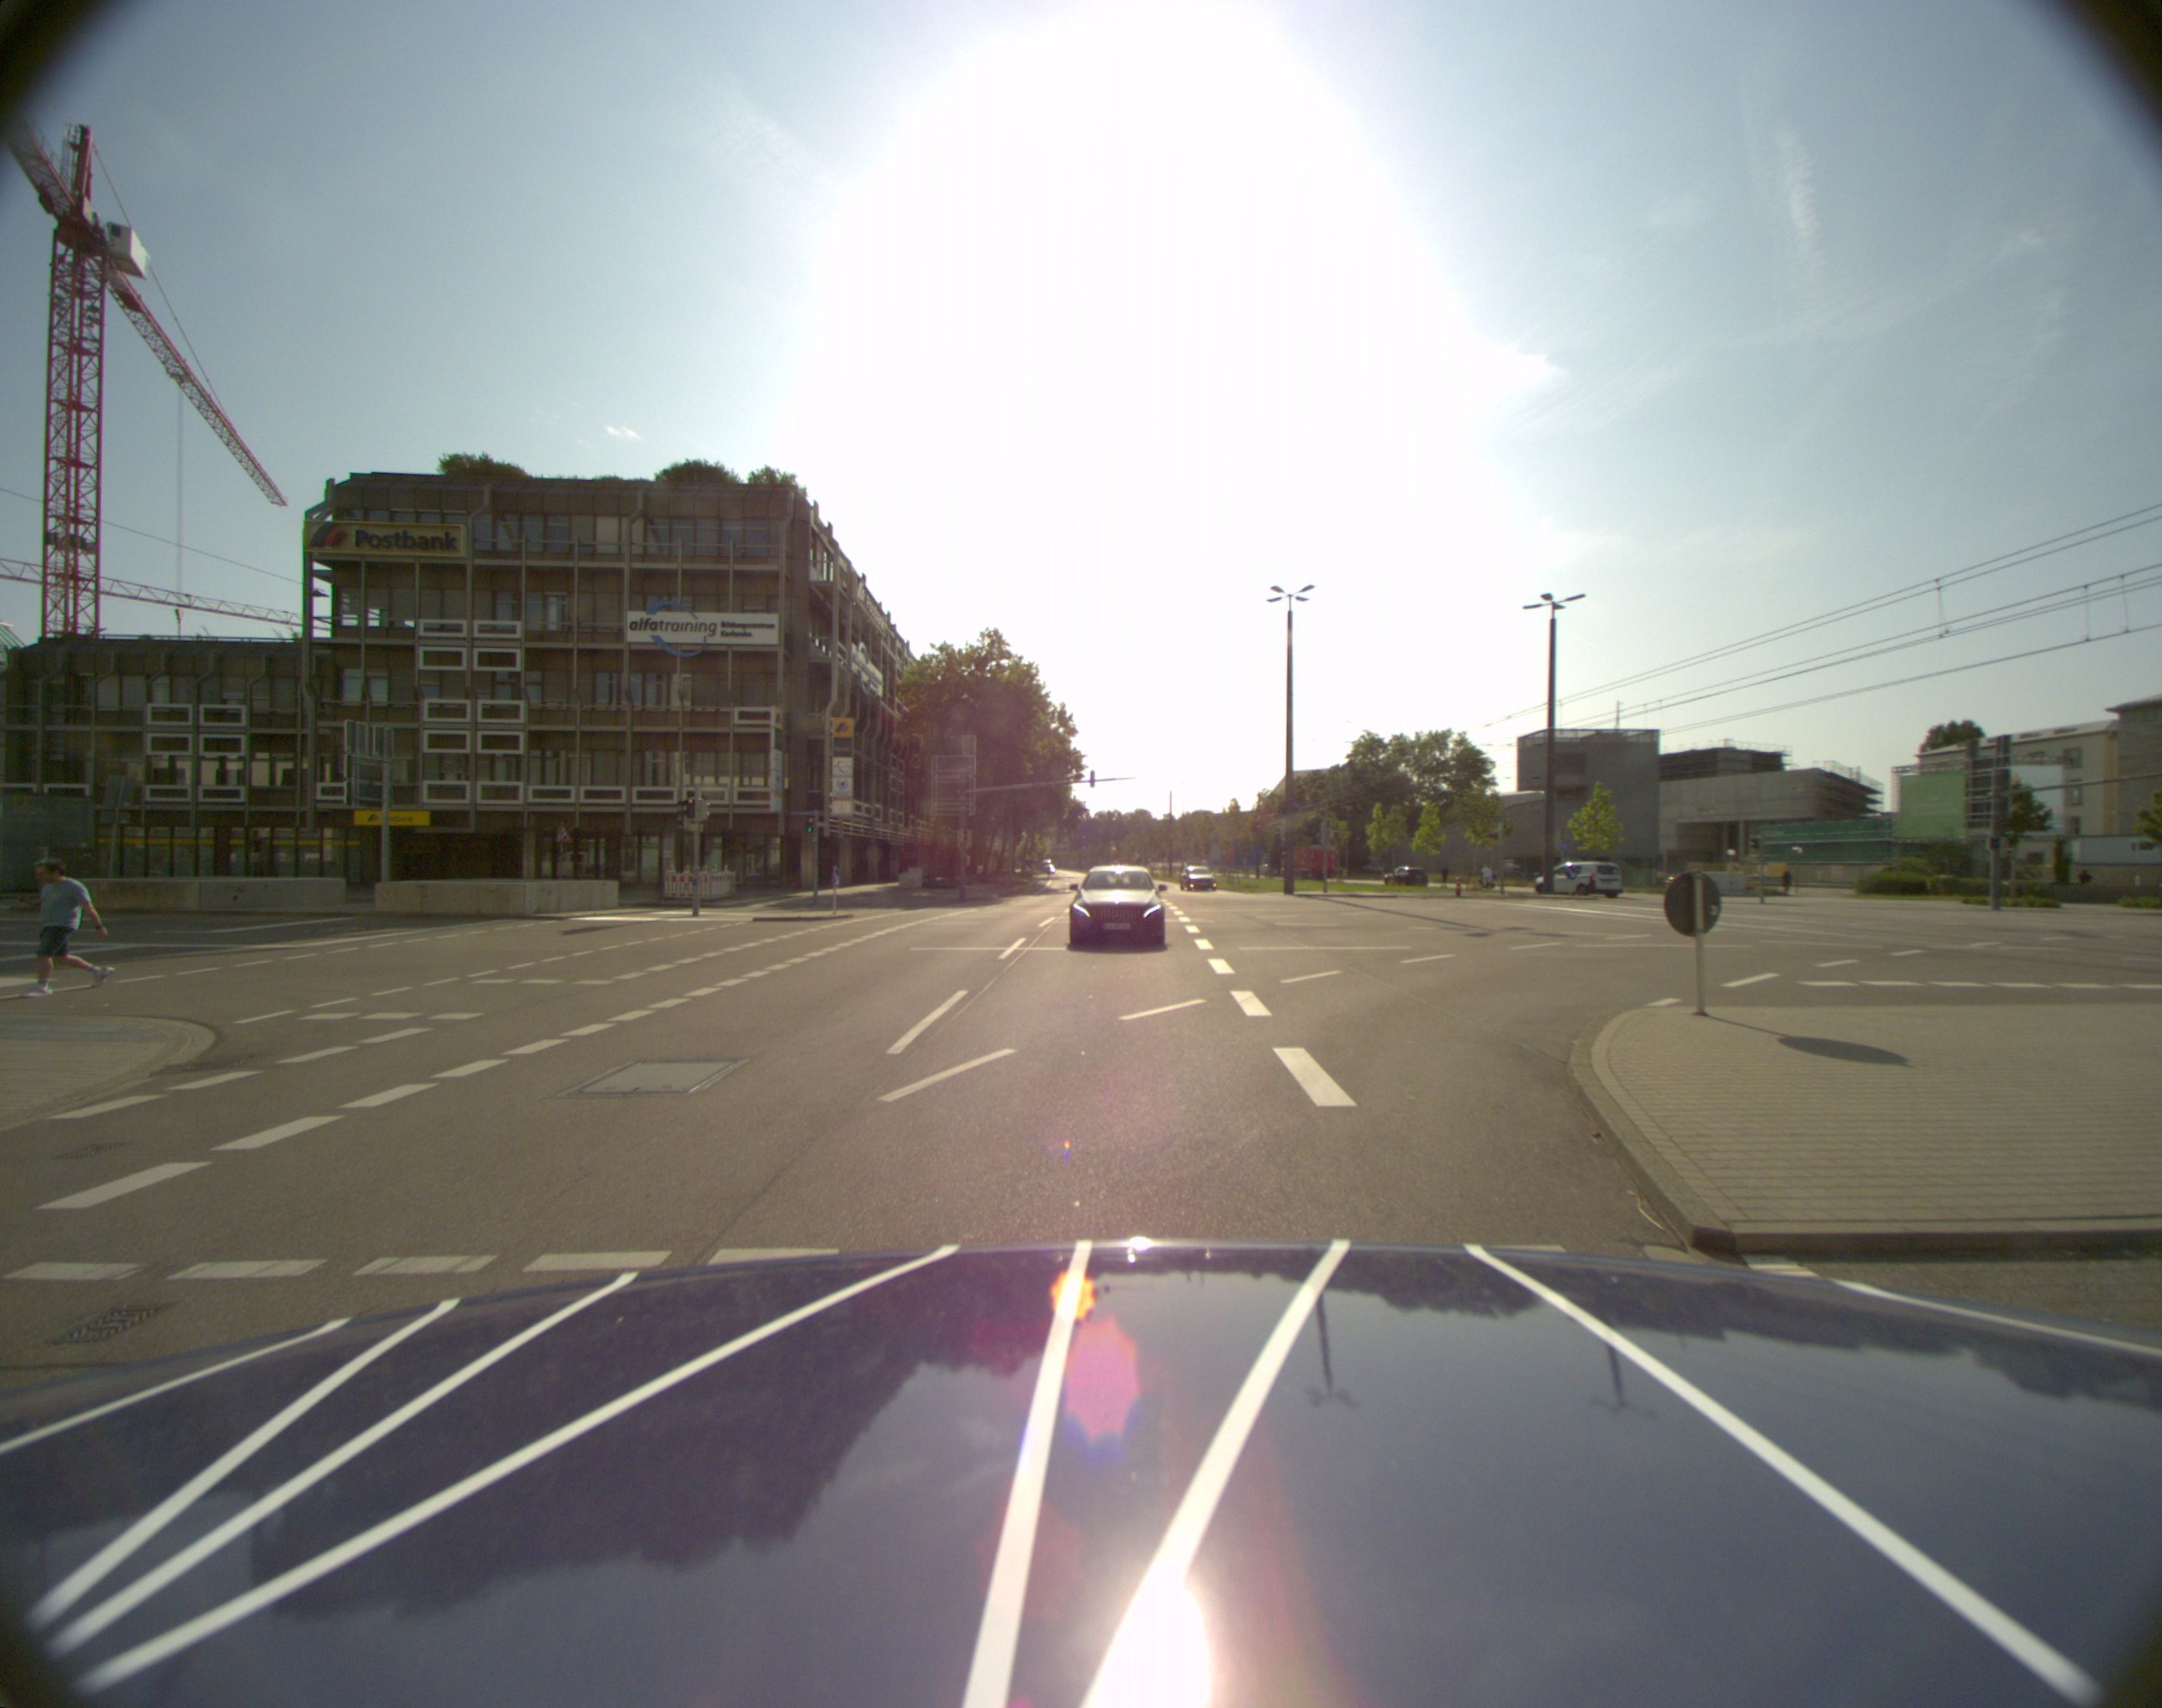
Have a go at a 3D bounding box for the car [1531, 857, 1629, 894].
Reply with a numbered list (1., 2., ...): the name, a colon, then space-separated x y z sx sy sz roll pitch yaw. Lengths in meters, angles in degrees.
1. car: 25.696 1.056 39.329 1.621 1.778 4.515 0 0 -9

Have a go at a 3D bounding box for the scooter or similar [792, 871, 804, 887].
1. scooter or similar: -15.559 1.385 41.761 0.279 0.838 0.959 0 0 -1

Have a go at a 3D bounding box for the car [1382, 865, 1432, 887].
1. car: 24.015 1.600 56.091 1.645 1.592 3.998 0 -1 -6

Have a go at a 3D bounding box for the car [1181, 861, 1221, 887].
1. car: 7.138 1.173 45.389 1.708 1.424 3.869 -2 -1 0

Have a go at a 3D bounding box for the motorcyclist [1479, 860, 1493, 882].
1. motorcyclist: 27.618 1.140 51.859 0.392 1.519 0.861 0 0 -8

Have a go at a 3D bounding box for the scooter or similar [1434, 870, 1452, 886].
1. scooter or similar: 27.164 1.774 56.993 0.540 1.140 1.382 0 0 -7

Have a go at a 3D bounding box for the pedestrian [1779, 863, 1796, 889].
1. pedestrian: 45.626 1.409 49.057 0.607 1.687 0.538 0 0 3

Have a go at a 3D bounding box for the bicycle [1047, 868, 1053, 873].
1. bicycle: -4.373 2.346 106.147 0.630 0.702 1.807 0 -1 -11

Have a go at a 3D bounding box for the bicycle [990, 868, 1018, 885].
1. bicycle: -5.408 1.580 53.390 1.831 1.181 0.537 1 0 4

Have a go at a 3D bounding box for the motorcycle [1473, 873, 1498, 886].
1. motorcycle: 27.598 1.712 51.834 0.520 0.828 1.821 0 0 -8

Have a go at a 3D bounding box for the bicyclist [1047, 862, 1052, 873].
1. bicyclist: -4.397 1.922 106.263 0.612 1.504 0.813 0 0 -11

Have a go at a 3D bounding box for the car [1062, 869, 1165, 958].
1. car: 0.599 1.059 15.363 1.716 1.429 5.057 0 0 1

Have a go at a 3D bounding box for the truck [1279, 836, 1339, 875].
1. truck: 23.574 0.144 79.134 2.979 3.786 10.422 0 0 -1

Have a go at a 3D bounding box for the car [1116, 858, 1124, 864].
1. car: 11.495 2.103 223.405 1.998 1.523 3.999 -1 0 -2

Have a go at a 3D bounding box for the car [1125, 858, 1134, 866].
1. car: 13.059 2.201 205.722 1.999 2.002 3.999 -1 0 -2

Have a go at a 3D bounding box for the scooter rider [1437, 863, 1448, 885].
1. scooter rider: 27.155 1.485 57.021 0.539 1.688 0.549 0 0 -6

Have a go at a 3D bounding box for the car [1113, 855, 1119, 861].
1. car: 11.648 1.402 251.220 1.757 1.968 3.771 0 0 -1

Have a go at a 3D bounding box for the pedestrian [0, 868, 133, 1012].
1. pedestrian: -12.890 1.037 9.575 0.644 1.701 0.990 0 0 7
